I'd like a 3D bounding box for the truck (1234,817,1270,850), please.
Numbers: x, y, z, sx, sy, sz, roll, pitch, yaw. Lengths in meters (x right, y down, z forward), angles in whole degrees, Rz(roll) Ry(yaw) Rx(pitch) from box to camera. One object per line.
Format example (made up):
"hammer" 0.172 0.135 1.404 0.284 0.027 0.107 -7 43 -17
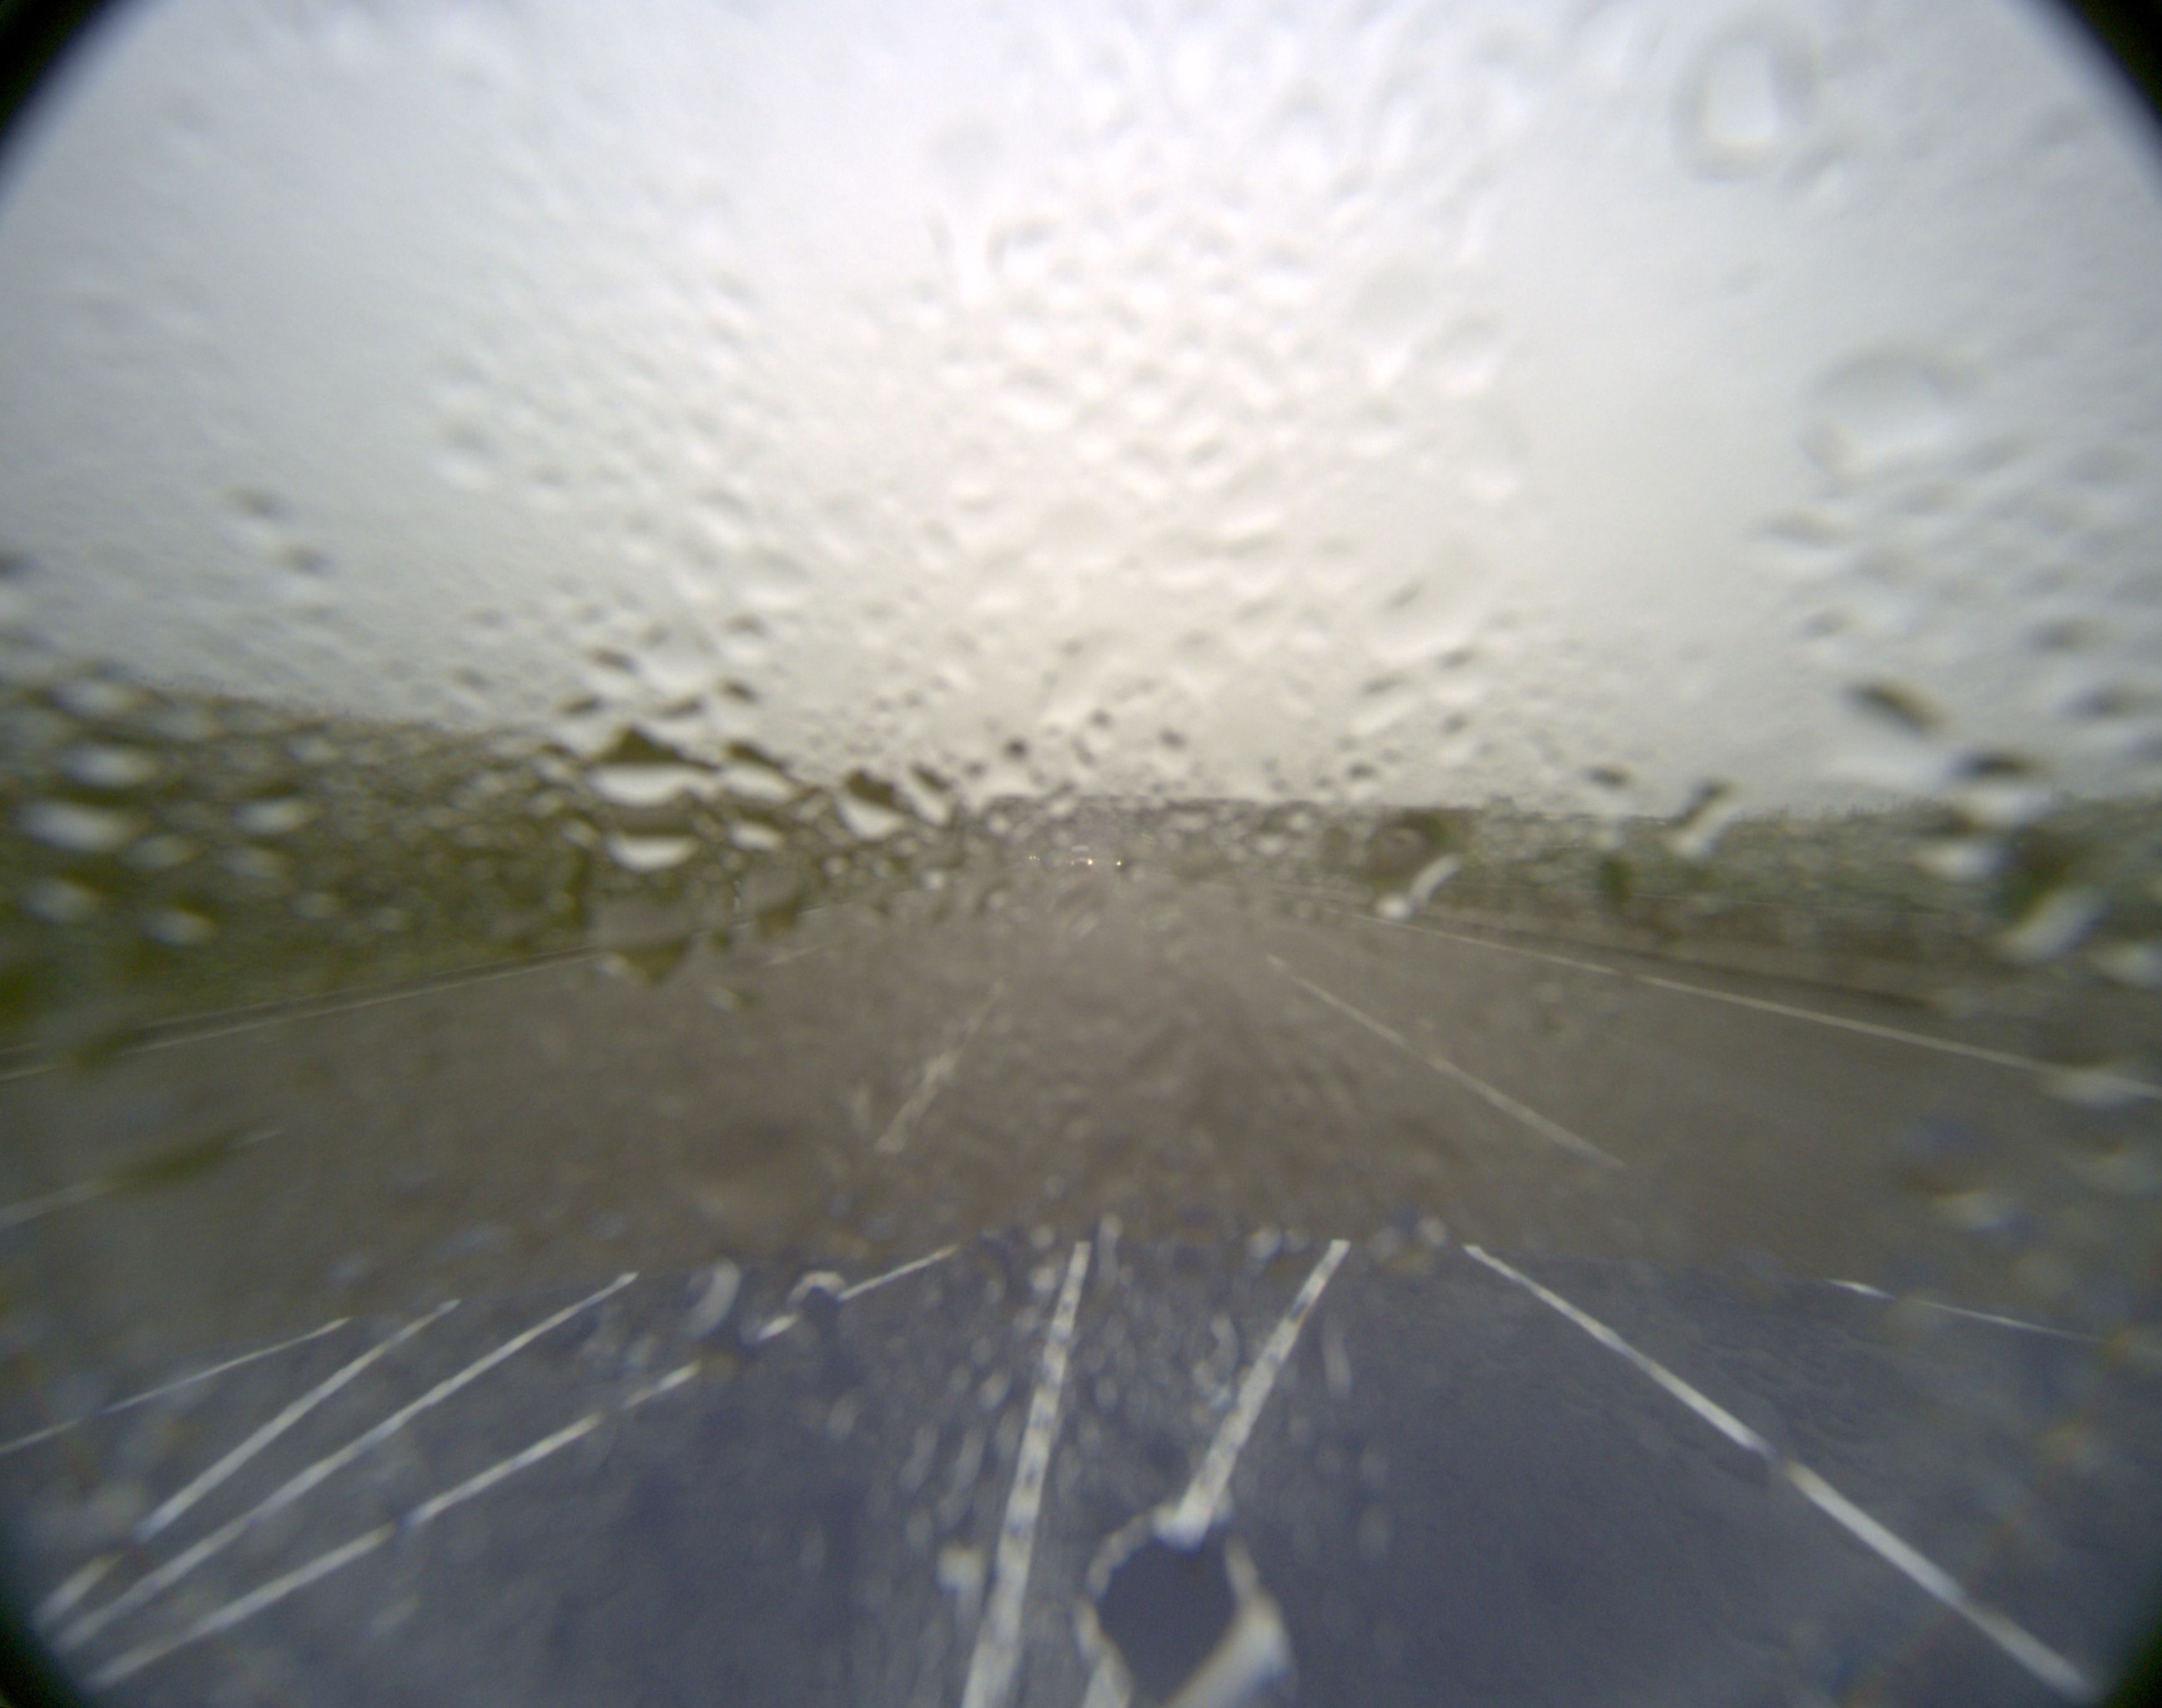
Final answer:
"truck" 19.845 -2.350 88.386 2.786 3.587 5.737 -2 2 0

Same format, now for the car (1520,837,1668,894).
"car" 15.990 0.324 23.973 1.998 1.608 4.000 -2 0 1

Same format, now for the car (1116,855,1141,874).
"car" 4.349 0.916 69.964 1.998 1.608 3.999 -1 0 0

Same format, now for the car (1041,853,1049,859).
"car" -9.579 0.521 201.453 1.998 1.543 4.000 -2 0 1

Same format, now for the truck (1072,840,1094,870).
"truck" 0.226 0.044 76.287 1.998 2.699 7.997 -2 2 0

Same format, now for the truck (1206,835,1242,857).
"truck" 15.563 -0.930 83.010 2.481 2.143 7.422 -2 2 0

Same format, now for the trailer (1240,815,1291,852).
"trailer" 19.825 -2.199 82.346 2.771 3.600 11.146 -2 2 1

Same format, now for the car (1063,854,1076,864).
"car" -1.944 0.864 125.678 1.999 1.521 3.999 -1 0 -2
